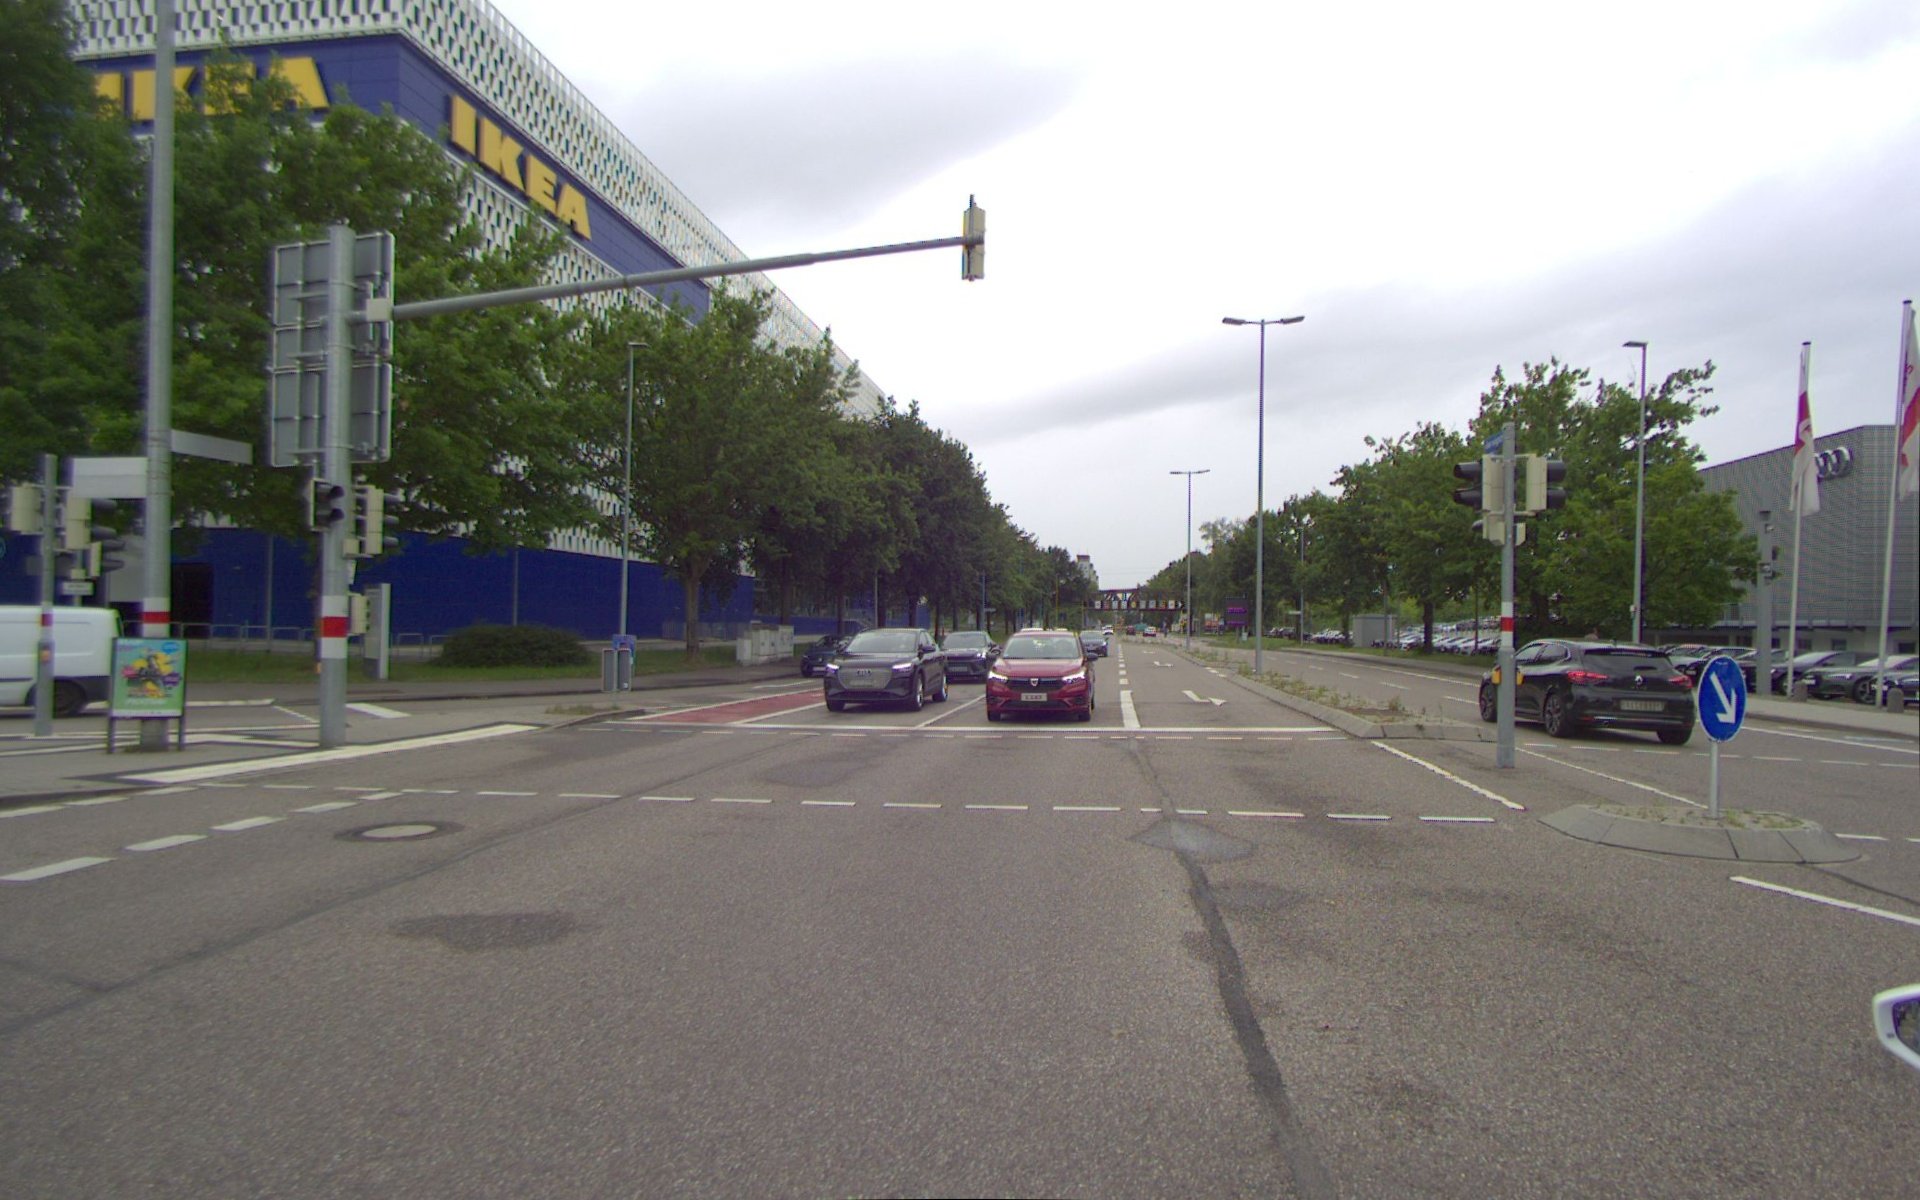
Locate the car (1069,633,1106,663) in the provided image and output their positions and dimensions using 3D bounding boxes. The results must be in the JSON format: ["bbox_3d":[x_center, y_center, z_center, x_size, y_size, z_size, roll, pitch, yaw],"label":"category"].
[{"bbox_3d":[7.014,2.622,55.011,1.825,1.481,4.334,-1,-1,9],"label":"car"}]

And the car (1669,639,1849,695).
[{"bbox_3d":[25.690,2.135,32.445,4.083,1.409,1.904,4,-1,9],"label":"car"}]

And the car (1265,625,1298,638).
[{"bbox_3d":[40.968,4.039,128.044,3.920,1.455,1.731,2,1,16],"label":"car"}]

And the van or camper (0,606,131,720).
[{"bbox_3d":[-15.794,0.953,15.660,4.360,1.744,1.977,4,-4,-40],"label":"van or camper"}]

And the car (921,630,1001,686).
[{"bbox_3d":[0.121,1.726,30.594,1.848,1.564,4.602,-1,-2,7],"label":"car"}]

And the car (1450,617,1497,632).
[{"bbox_3d":[54.156,2.585,106.008,4.015,1.455,1.731,2,1,8],"label":"car"}]

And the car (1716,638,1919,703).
[{"bbox_3d":[25.329,2.053,29.703,4.291,1.490,1.896,4,-1,9],"label":"car"}]

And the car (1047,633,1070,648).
[{"bbox_3d":[10.331,4.210,104.919,1.825,1.481,4.334,-1,-1,13],"label":"car"}]

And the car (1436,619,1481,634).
[{"bbox_3d":[55.124,2.921,111.097,4.127,1.455,1.731,2,1,8],"label":"car"}]

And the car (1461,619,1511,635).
[{"bbox_3d":[52.846,2.710,100.971,4.015,1.455,1.948,2,1,8],"label":"car"}]

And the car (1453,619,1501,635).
[{"bbox_3d":[53.219,2.806,103.446,4.015,1.455,1.731,2,1,8],"label":"car"}]

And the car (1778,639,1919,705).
[{"bbox_3d":[24.829,1.975,26.867,4.106,1.505,1.910,4,-1,9],"label":"car"}]

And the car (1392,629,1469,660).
[{"bbox_3d":[32.590,3.046,69.711,4.320,1.540,2.001,7,2,10],"label":"car"}]

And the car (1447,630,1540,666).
[{"bbox_3d":[30.177,2.711,56.910,4.125,1.505,1.960,6,1,9],"label":"car"}]

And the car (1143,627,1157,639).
[{"bbox_3d":[31.065,5.369,164.065,2.099,1.684,3.784,2,1,12],"label":"car"}]

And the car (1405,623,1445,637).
[{"bbox_3d":[56.974,3.678,123.170,4.015,1.455,1.731,2,1,8],"label":"car"}]

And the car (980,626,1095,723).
[{"bbox_3d":[1.472,1.262,17.759,1.705,1.507,4.082,-1,-3,9],"label":"car"}]

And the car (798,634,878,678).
[{"bbox_3d":[-4.325,1.986,36.333,1.667,1.507,4.122,0,-2,11],"label":"car"}]

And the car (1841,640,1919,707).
[{"bbox_3d":[24.286,1.885,24.201,4.146,1.505,1.873,4,-1,10],"label":"car"}]

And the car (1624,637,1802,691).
[{"bbox_3d":[26.189,2.203,35.095,4.570,1.491,1.849,4,0,9],"label":"car"}]

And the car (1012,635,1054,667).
[{"bbox_3d":[4.267,2.905,57.813,1.960,1.615,4.580,-3,-1,9],"label":"car"}]

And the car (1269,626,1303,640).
[{"bbox_3d":[40.759,4.096,125.689,3.920,1.455,1.731,2,1,16],"label":"car"}]

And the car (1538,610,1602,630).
[{"bbox_3d":[51.667,1.693,85.137,4.261,1.516,1.883,2,1,8],"label":"car"}]

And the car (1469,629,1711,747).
[{"bbox_3d":[9.376,1.224,15.358,1.727,1.454,4.002,1,0,10],"label":"car"}]

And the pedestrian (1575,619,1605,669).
[{"bbox_3d":[24.501,1.708,39.060,0.705,1.896,0.674,3,-1,10],"label":"pedestrian"}]

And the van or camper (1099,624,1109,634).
[{"bbox_3d":[26.751,5.403,186.247,1.725,1.770,4.410,-2,-1,9],"label":"van or camper"}]

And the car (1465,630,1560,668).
[{"bbox_3d":[29.849,2.624,54.322,3.995,1.505,1.820,6,1,9],"label":"car"}]

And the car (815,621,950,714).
[{"bbox_3d":[-1.450,1.310,20.482,1.848,1.658,4.337,-2,-2,7],"label":"car"}]

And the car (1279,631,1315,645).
[{"bbox_3d":[40.147,4.564,119.628,3.920,1.455,1.731,2,1,16],"label":"car"}]
